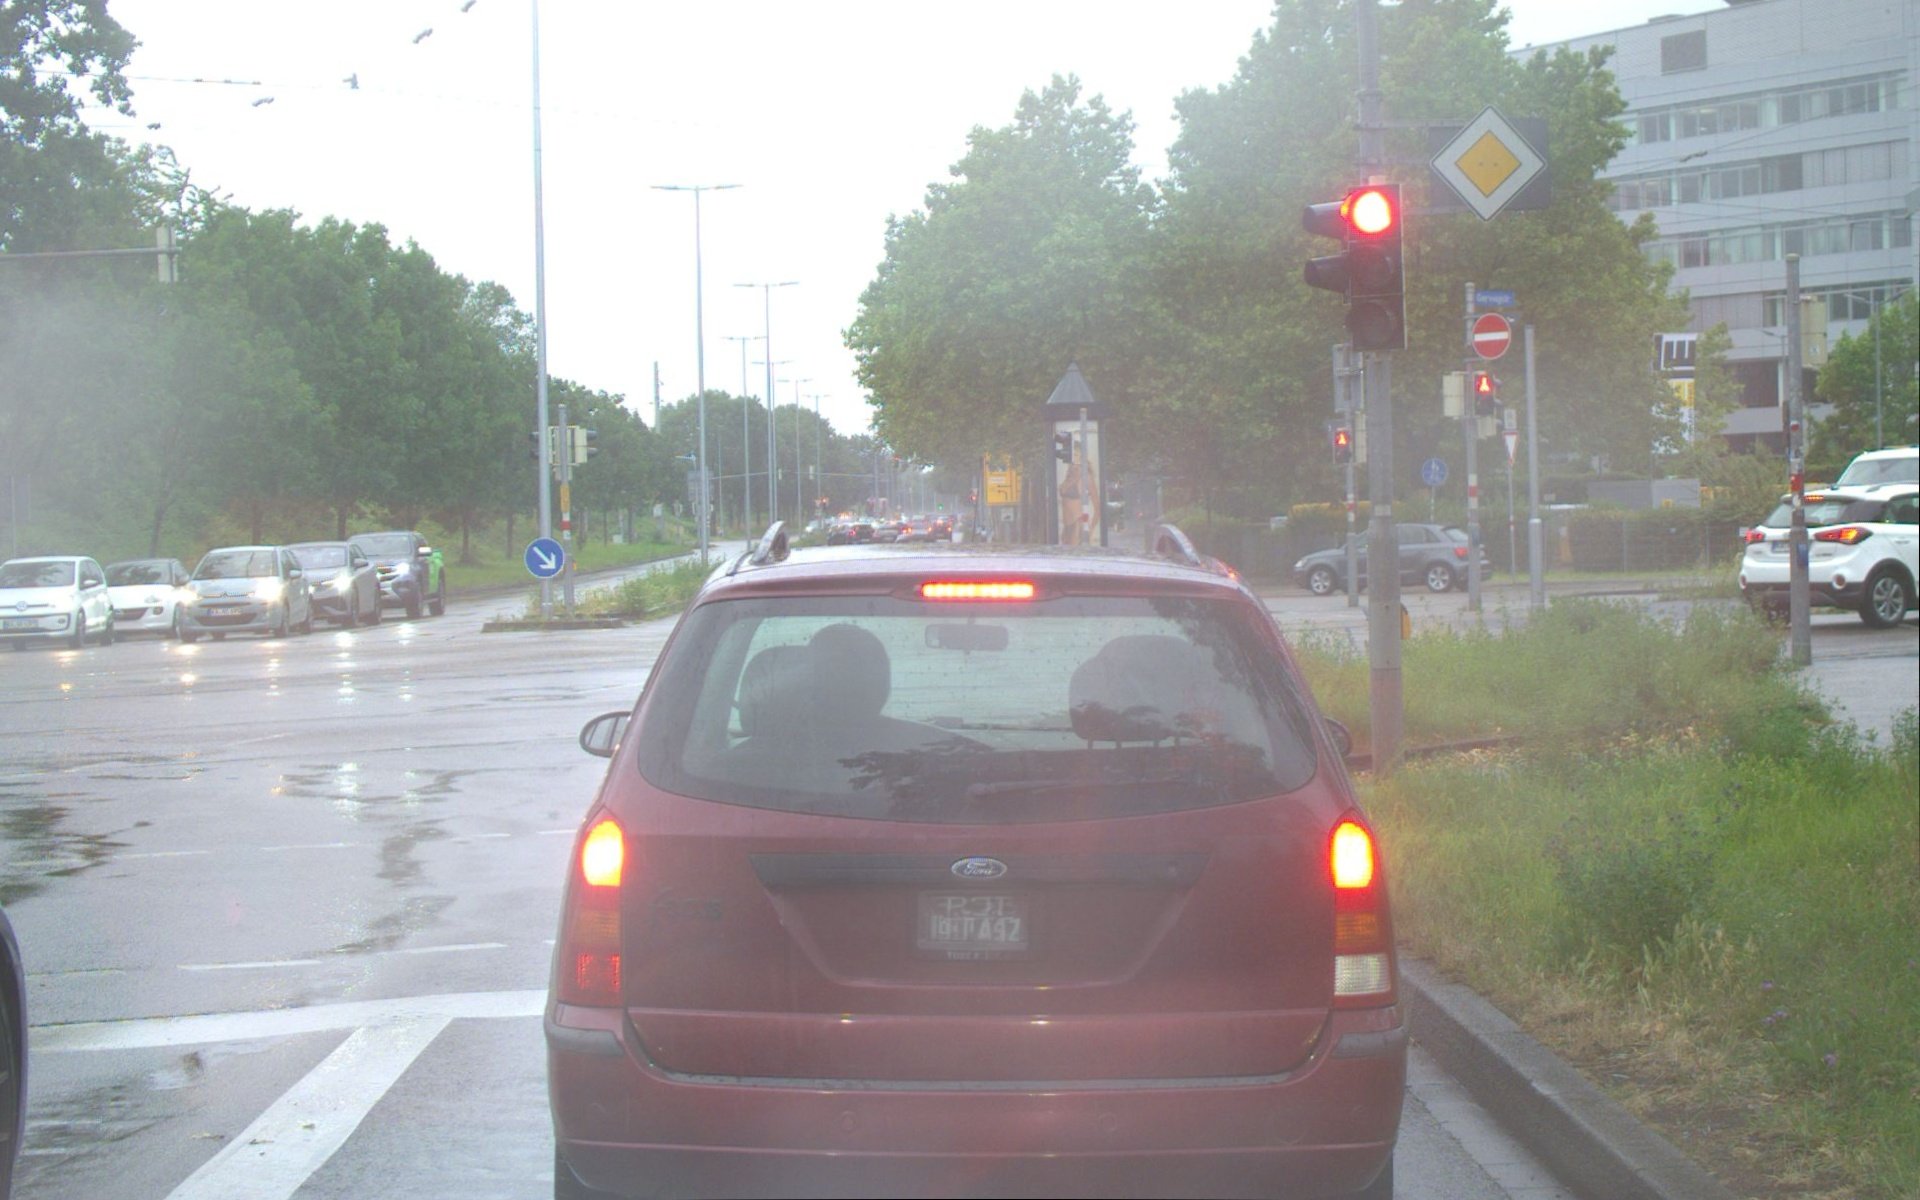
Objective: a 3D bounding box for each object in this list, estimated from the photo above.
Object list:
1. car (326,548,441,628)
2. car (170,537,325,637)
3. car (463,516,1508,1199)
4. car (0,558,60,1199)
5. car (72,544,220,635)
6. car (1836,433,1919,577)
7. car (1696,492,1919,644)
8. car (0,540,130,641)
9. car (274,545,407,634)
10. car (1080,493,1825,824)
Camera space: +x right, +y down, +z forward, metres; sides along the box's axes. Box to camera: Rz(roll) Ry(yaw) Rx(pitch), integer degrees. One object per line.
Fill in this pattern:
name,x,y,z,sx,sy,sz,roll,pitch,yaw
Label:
car,-11.824,-0.270,70.733,1.712,1.525,4.000,-1,1,-1
car,-11.592,-0.244,56.162,1.712,1.525,4.000,-1,1,-1
car,0.017,0.593,8.143,1.796,1.532,4.387,1,1,-1
car,-2.695,0.672,4.853,1.690,1.428,4.574,0,1,-1
car,-14.513,-0.220,61.481,1.712,1.525,4.000,-1,1,-1
car,16.103,-1.597,54.446,4.374,2.183,1.802,-5,3,-35
car,10.161,-0.392,37.099,4.050,1.515,2.000,-2,2,-31
car,-14.606,-0.170,54.942,1.712,1.525,4.000,-1,1,-1
car,-11.301,-0.219,62.940,1.712,1.525,4.000,-1,1,-1
car,2.949,0.246,20.024,4.375,1.531,1.801,-5,4,-40
